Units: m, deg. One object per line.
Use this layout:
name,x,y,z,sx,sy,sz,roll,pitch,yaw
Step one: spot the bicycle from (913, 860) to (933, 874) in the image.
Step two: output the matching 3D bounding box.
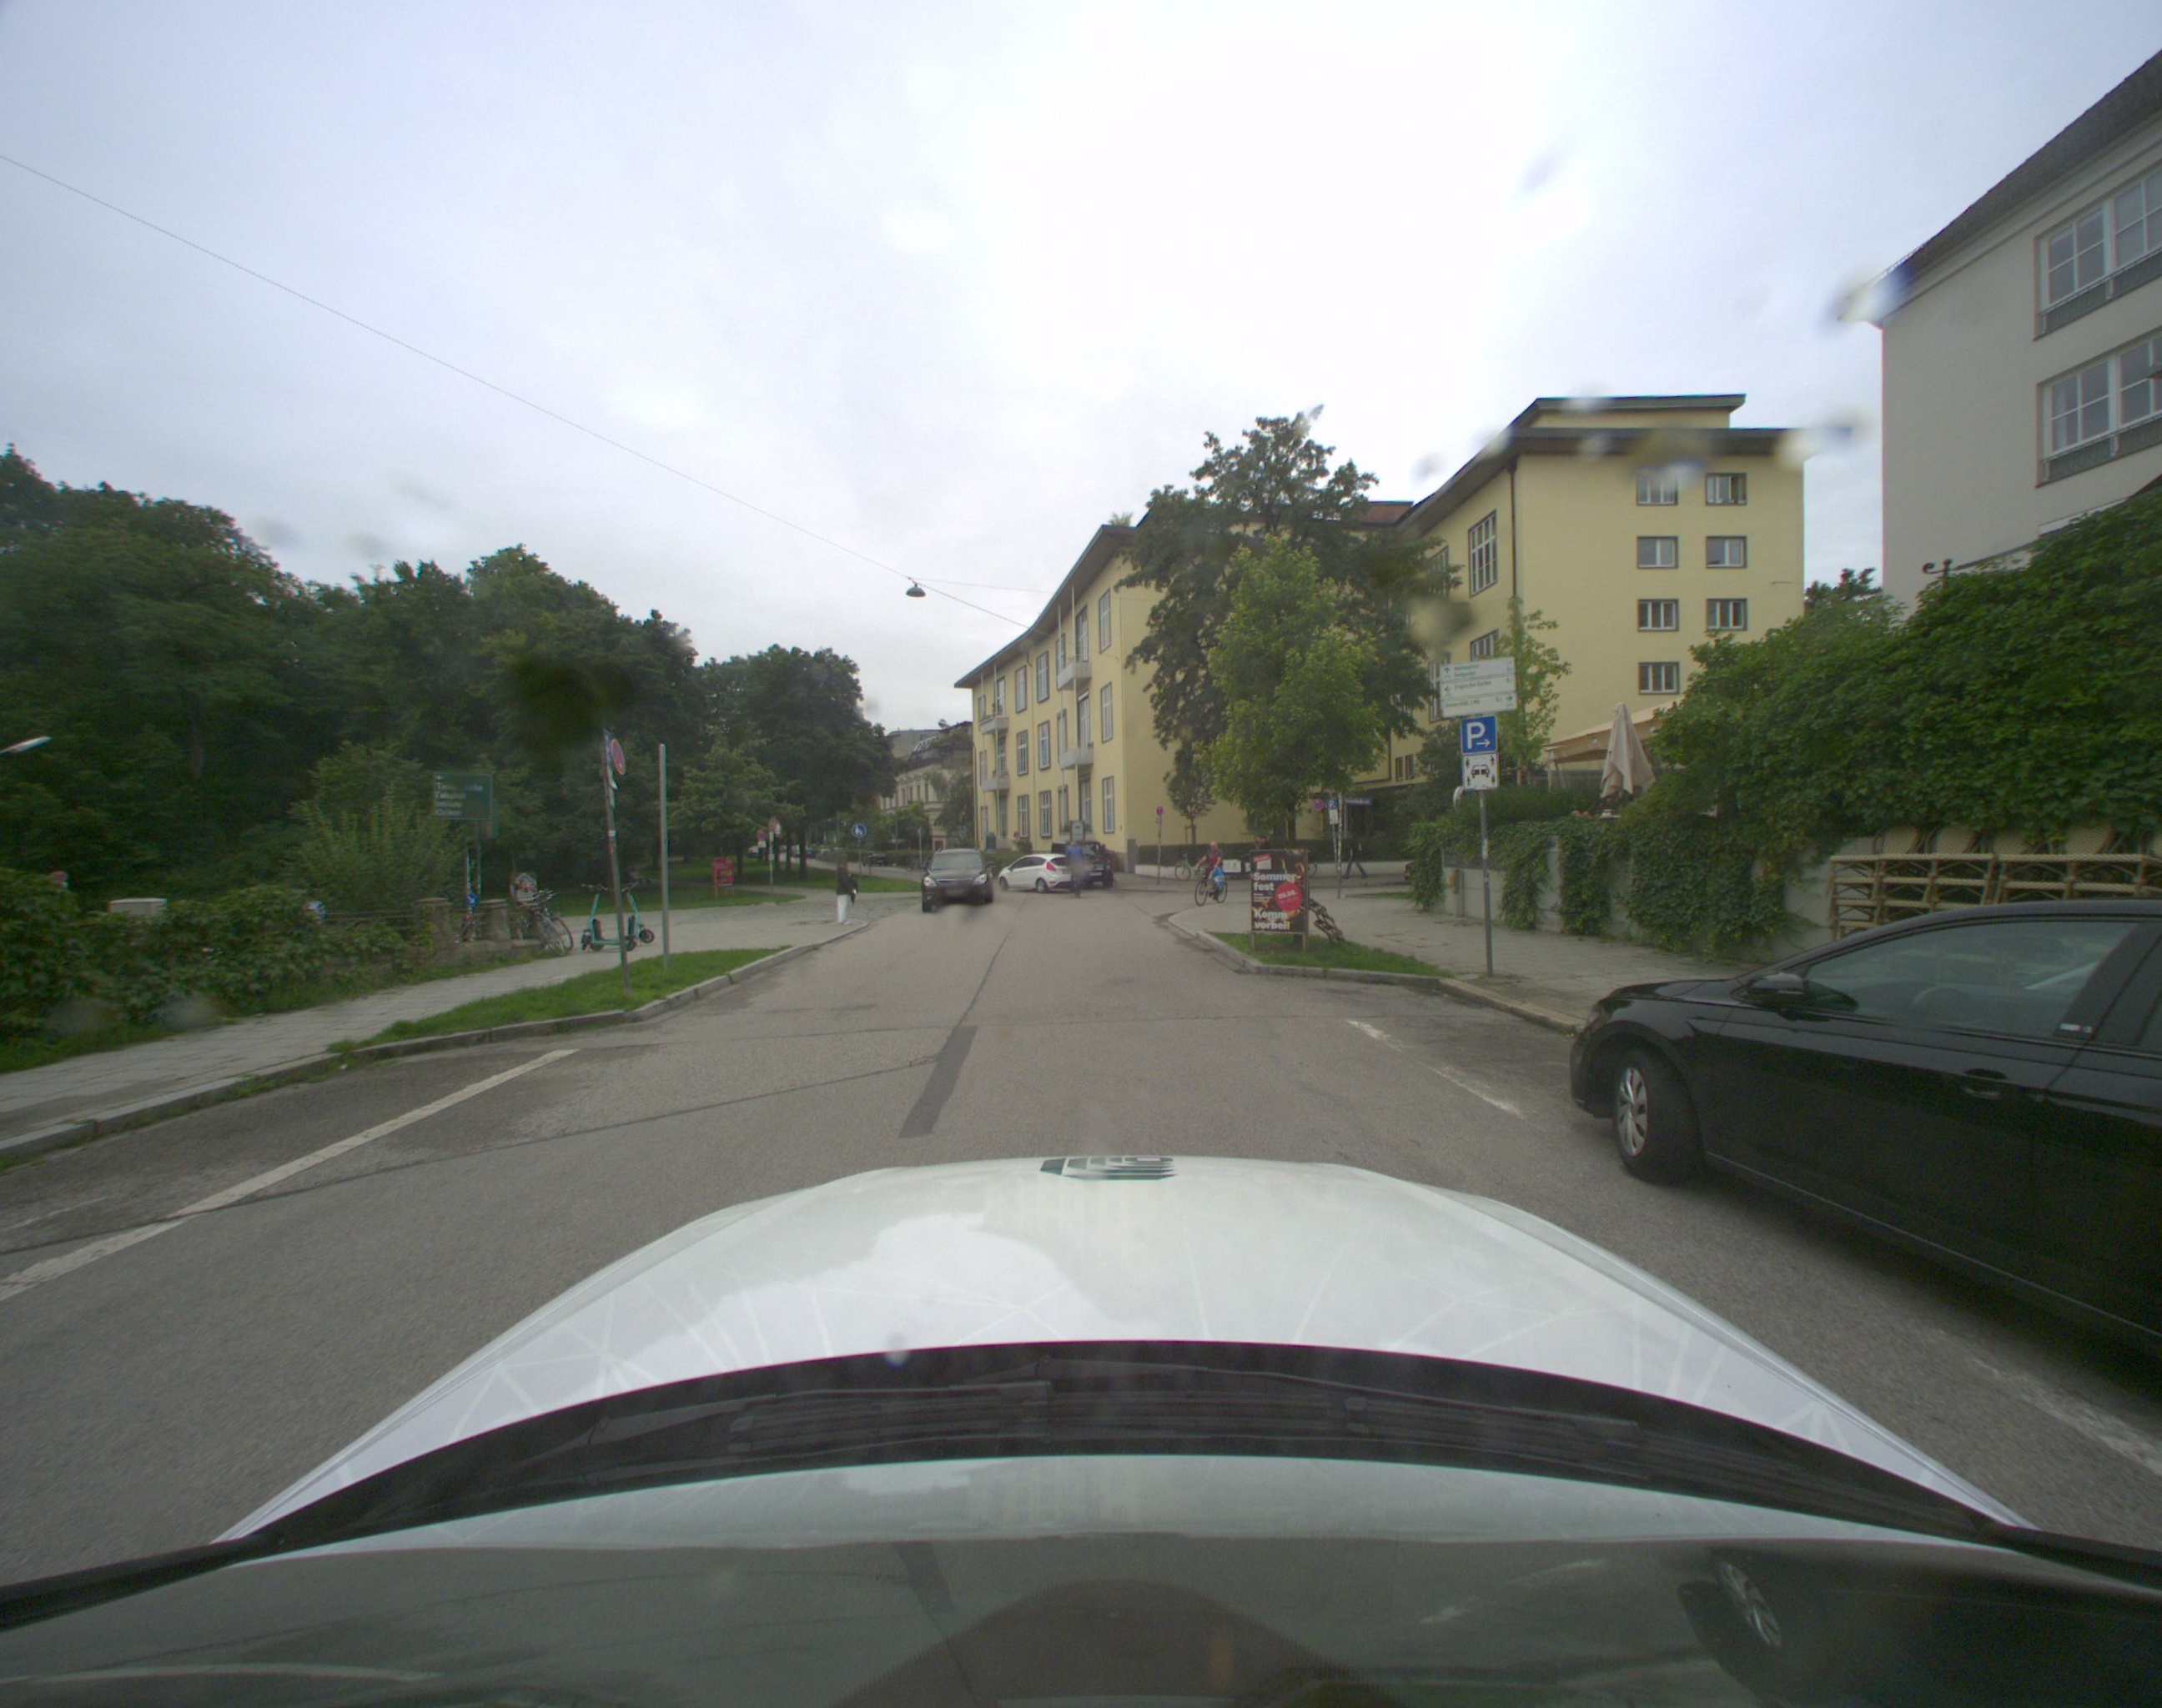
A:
bicycle,-12.514,1.056,64.480,1.546,1.014,0.404,-4,1,-42

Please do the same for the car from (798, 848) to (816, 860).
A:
car,-39.991,0.022,118.796,2.004,1.600,4.217,-2,1,-27

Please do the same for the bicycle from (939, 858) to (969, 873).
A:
bicycle,-8.803,0.794,56.629,1.988,1.028,0.612,-2,0,-39

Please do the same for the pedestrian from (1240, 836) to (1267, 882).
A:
pedestrian,6.687,0.184,31.551,0.824,1.746,0.740,-2,1,-3

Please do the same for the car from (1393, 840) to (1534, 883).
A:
car,13.822,0.286,29.569,4.306,1.367,1.662,-2,-2,-1

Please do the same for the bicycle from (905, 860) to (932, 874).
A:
bicycle,-12.777,1.016,64.109,1.988,1.028,0.612,-2,0,-39

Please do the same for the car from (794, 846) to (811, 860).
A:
car,-43.590,-0.153,127.529,2.075,1.966,4.939,-2,1,-23

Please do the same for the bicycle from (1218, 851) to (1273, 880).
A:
bicycle,6.680,0.457,33.056,2.152,1.115,0.643,-1,1,14

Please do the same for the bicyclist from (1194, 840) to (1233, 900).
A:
bicyclist,3.688,0.429,22.615,0.868,1.609,1.054,-1,1,18

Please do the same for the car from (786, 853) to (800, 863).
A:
car,-48.627,0.657,137.482,1.736,1.702,3.968,-2,1,-24

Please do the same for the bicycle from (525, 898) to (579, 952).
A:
bicycle,-10.477,1.388,16.127,1.259,0.977,0.417,-2,1,35

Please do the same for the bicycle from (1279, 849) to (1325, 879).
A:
bicycle,8.859,0.392,32.653,1.678,1.130,0.459,-2,1,-3

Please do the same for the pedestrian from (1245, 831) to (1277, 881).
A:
pedestrian,6.749,0.080,30.494,0.987,1.809,0.659,-2,0,-3

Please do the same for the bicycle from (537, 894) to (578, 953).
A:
bicycle,-10.213,1.334,15.873,1.176,1.111,0.303,-2,-1,39

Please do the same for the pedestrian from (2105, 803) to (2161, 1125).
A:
pedestrian,5.795,0.543,3.898,0.677,1.628,0.828,-2,-1,-4

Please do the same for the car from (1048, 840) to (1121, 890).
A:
car,0.048,0.389,34.064,1.877,1.887,4.595,-2,1,-15

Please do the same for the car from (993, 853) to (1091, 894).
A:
car,-1.530,0.721,30.994,1.763,1.406,3.682,-2,1,-43

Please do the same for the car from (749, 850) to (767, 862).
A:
car,-46.082,0.228,116.017,2.004,1.600,4.429,-2,1,-26

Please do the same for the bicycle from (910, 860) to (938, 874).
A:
bicycle,-11.979,0.991,62.184,1.988,1.028,0.612,-2,0,-39

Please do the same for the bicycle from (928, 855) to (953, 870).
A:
bicycle,-10.106,0.614,58.606,0.527,1.028,1.990,-1,0,31

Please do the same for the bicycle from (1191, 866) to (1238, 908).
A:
bicycle,3.769,0.891,22.769,0.869,1.019,2.202,-1,1,20

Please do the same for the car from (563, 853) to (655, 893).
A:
car,-26.206,1.043,45.374,1.765,2.013,4.025,-2,1,30

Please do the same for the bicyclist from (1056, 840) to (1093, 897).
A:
bicyclist,-0.223,0.457,26.614,0.915,1.764,1.209,-2,1,-15

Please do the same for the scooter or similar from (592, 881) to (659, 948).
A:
scooter or similar,-8.807,1.154,15.768,0.434,1.212,1.060,-2,-2,30

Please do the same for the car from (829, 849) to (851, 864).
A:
car,-28.093,0.294,94.931,1.803,1.679,3.965,-2,1,-27

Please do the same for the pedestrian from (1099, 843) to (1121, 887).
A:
pedestrian,1.197,0.439,33.947,0.845,1.757,0.953,-2,1,0

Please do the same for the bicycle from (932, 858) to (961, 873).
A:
bicycle,-9.495,0.802,57.565,1.988,1.028,0.612,-2,0,-39

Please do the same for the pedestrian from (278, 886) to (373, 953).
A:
pedestrian,-15.930,1.349,17.208,0.847,1.268,1.263,-2,1,-8

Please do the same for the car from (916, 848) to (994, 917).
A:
car,-3.586,0.732,23.866,1.991,1.719,4.605,-2,1,-6

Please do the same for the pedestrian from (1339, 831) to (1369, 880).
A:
pedestrian,10.702,0.053,31.926,0.848,1.857,0.766,-3,0,-3

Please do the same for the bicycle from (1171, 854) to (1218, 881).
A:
bicycle,4.775,0.579,34.233,1.925,1.084,0.532,-3,-1,41

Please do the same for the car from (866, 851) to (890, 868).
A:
car,-19.268,0.491,77.250,1.654,1.558,3.531,-2,1,-24

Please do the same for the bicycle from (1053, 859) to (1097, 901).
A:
bicycle,-0.233,0.810,26.754,0.922,1.252,2.311,-2,1,-13

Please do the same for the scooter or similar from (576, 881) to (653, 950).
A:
scooter or similar,-8.644,1.139,15.101,1.252,1.244,0.395,-2,-2,10

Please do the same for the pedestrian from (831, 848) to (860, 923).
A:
pedestrian,-5.531,0.721,19.155,0.543,1.696,0.663,-3,1,-13

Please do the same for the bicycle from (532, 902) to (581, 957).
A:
bicycle,-9.383,1.333,14.592,0.434,0.893,1.321,-2,-1,-20

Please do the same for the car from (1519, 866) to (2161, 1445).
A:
car,3.534,0.810,2.744,1.711,1.394,3.993,2,0,-5
